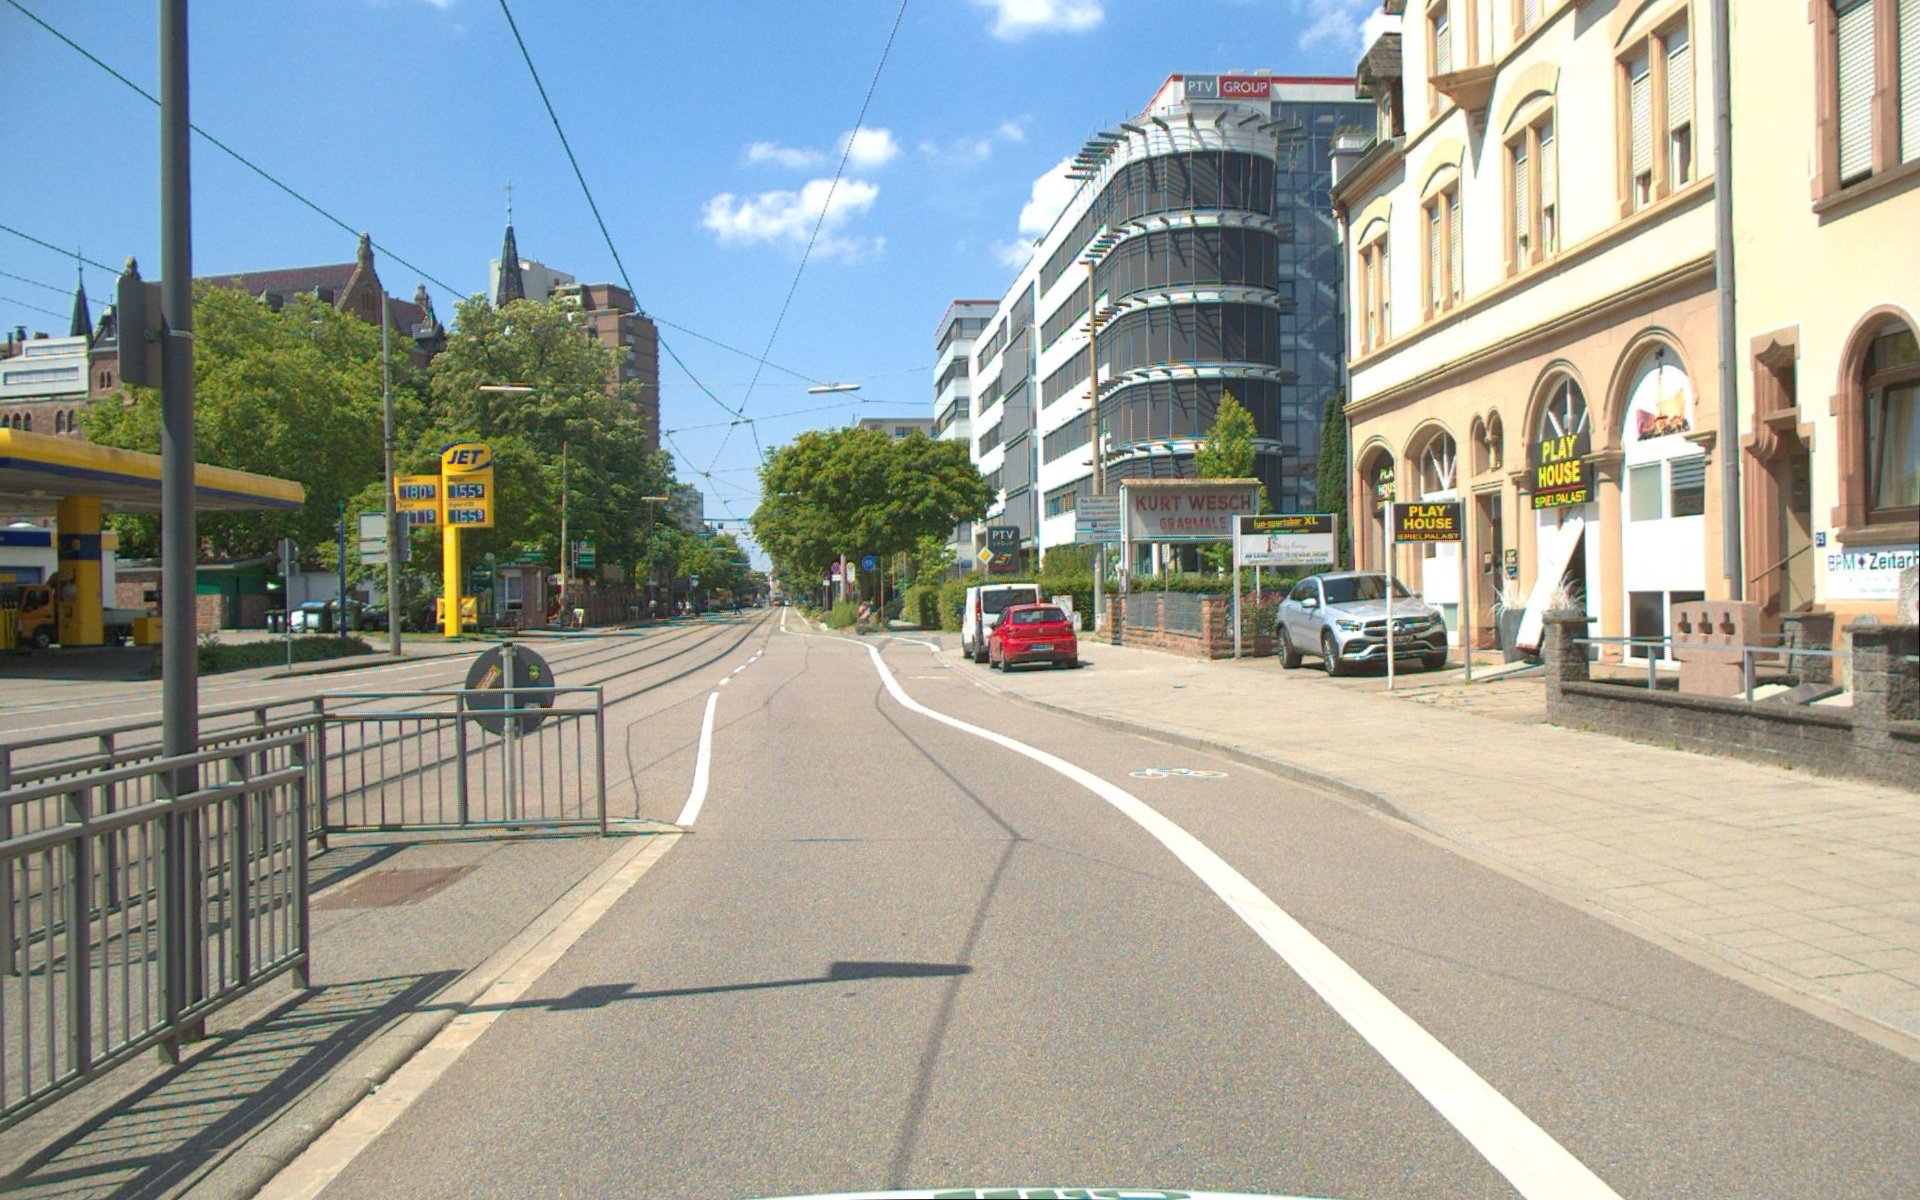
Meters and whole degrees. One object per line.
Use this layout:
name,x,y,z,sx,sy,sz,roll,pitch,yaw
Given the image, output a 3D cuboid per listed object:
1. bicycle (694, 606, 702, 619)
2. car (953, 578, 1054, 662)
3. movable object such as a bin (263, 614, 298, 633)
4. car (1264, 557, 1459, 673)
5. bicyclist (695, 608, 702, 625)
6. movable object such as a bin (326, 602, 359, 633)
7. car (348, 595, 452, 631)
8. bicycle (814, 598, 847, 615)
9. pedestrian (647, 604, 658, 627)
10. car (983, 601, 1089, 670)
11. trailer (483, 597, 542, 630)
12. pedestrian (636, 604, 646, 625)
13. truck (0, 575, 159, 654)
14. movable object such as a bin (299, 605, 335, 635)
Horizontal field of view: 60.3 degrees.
bicycle,-25.823,1.201,163.065,0.687,1.225,2.237,-3,0,-6
car,1.087,0.501,44.608,1.955,2.026,5.507,-3,0,-6
movable object such as a bin,-32.106,1.103,78.171,1.315,0.888,0.759,-1,0,14
car,6.630,0.232,27.837,1.841,1.652,4.636,-4,0,-3
bicyclist,-25.822,1.642,163.190,0.629,1.709,0.813,-1,0,-7
movable object such as a bin,-28.727,0.804,76.958,1.319,1.378,0.757,-1,0,-8
car,-26.561,0.603,78.581,1.961,1.618,4.314,-1,0,38
bicycle,-10.016,0.508,127.952,2.460,1.231,0.647,-1,0,-2
pedestrian,-24.814,1.256,133.647,0.799,1.801,0.923,-1,0,-7
car,1.681,0.768,37.921,1.954,1.467,4.013,-1,0,-4
trailer,-23.846,0.710,88.274,2.775,1.733,1.619,-1,0,-5
pedestrian,-26.872,1.257,139.465,0.729,1.758,0.866,-1,0,-6
truck,-30.053,0.485,56.086,1.953,2.542,5.200,-1,0,24
movable object such as a bin,-30.197,0.941,77.677,1.316,1.378,0.759,-1,0,6
